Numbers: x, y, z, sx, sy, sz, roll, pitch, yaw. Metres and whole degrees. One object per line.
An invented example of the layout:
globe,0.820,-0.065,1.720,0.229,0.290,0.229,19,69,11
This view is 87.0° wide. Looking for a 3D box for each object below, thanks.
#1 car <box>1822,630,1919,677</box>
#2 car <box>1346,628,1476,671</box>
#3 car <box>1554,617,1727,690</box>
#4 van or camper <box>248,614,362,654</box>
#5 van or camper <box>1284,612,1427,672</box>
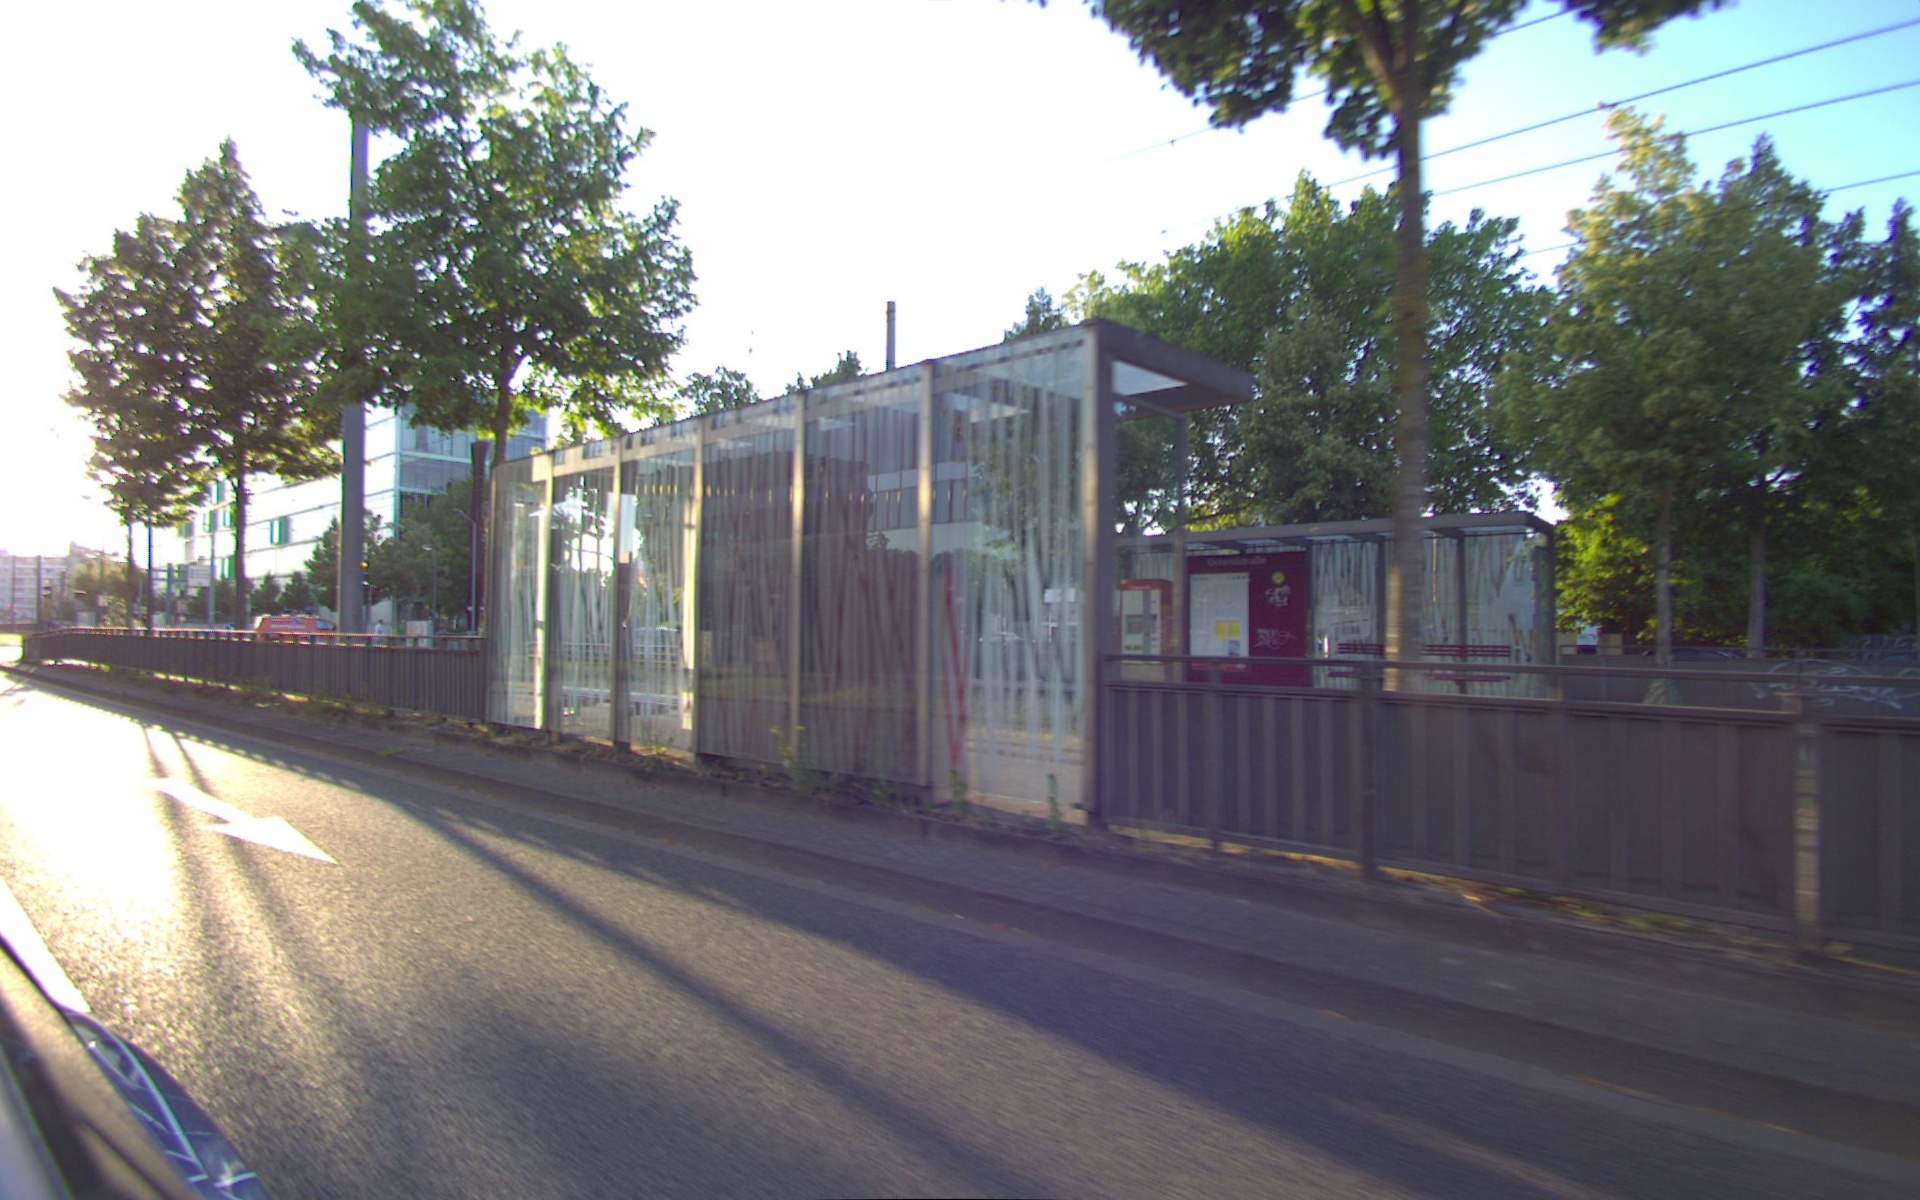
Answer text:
car,30.867,1.747,33.359,3.645,1.512,1.804,-2,-3,43
car,16.776,1.822,37.772,1.970,1.542,4.003,2,-3,-44
car,20.410,1.580,30.432,4.001,2.029,1.971,-2,-3,44
van or camper,-35.399,1.796,54.800,2.000,2.029,4.820,-2,-1,42
van or camper,17.974,1.889,46.235,2.363,2.583,5.638,2,-3,-43
